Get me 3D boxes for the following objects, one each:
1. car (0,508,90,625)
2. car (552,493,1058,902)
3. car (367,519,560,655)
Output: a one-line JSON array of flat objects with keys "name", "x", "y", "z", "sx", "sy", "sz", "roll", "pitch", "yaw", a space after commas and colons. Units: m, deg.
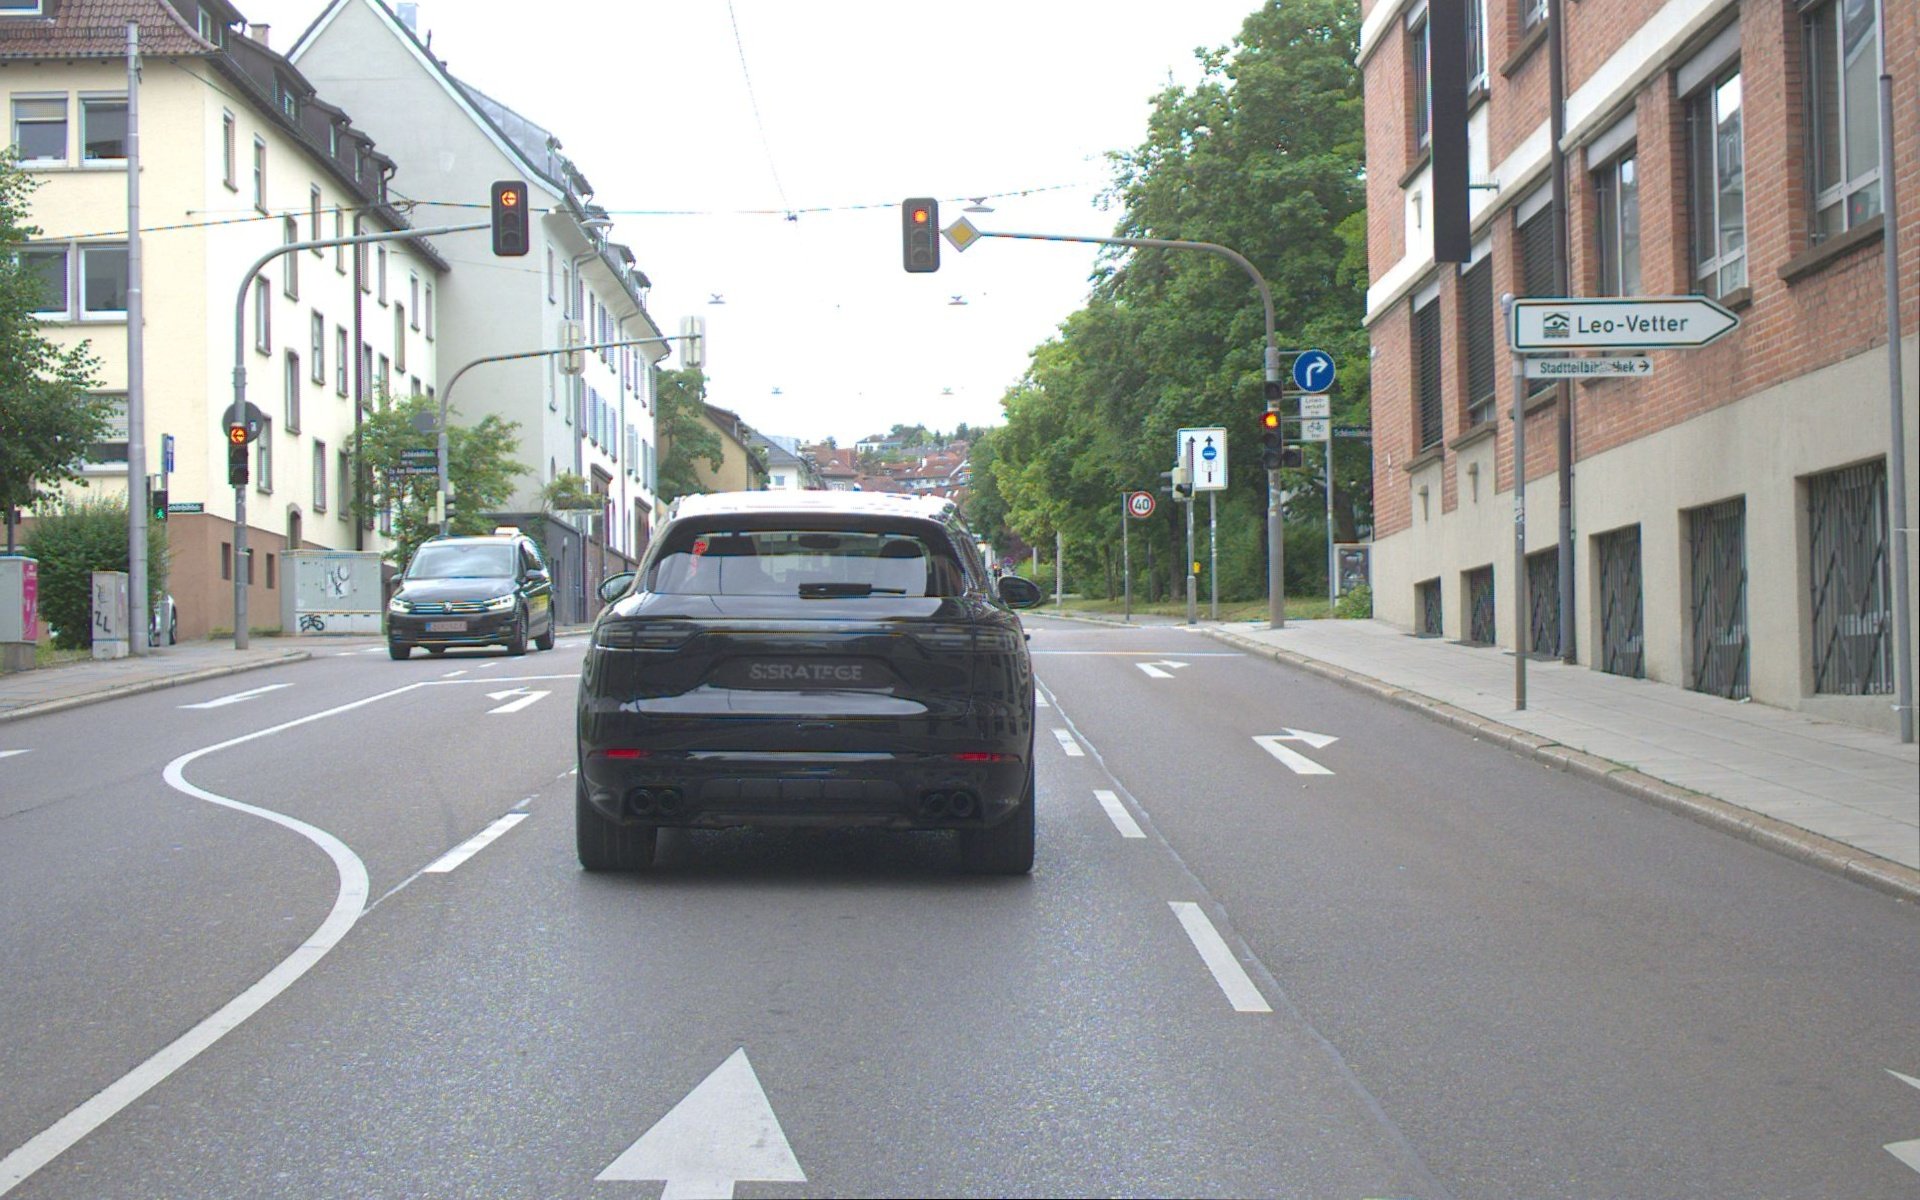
[{"name": "car", "x": -14.614, "y": -0.499, "z": 52.168, "sx": 1.844, "sy": 1.686, "sz": 4.001, "roll": -3, "pitch": 1, "yaw": -2}, {"name": "car", "x": -0.792, "y": 0.357, "z": 16.107, "sx": 2.023, "sy": 1.636, "sz": 4.357, "roll": 1, "pitch": 1, "yaw": -4}, {"name": "car", "x": -6.718, "y": -0.215, "z": 46.915, "sx": 1.897, "sy": 1.686, "sz": 4.000, "roll": -3, "pitch": 1, "yaw": 1}]
